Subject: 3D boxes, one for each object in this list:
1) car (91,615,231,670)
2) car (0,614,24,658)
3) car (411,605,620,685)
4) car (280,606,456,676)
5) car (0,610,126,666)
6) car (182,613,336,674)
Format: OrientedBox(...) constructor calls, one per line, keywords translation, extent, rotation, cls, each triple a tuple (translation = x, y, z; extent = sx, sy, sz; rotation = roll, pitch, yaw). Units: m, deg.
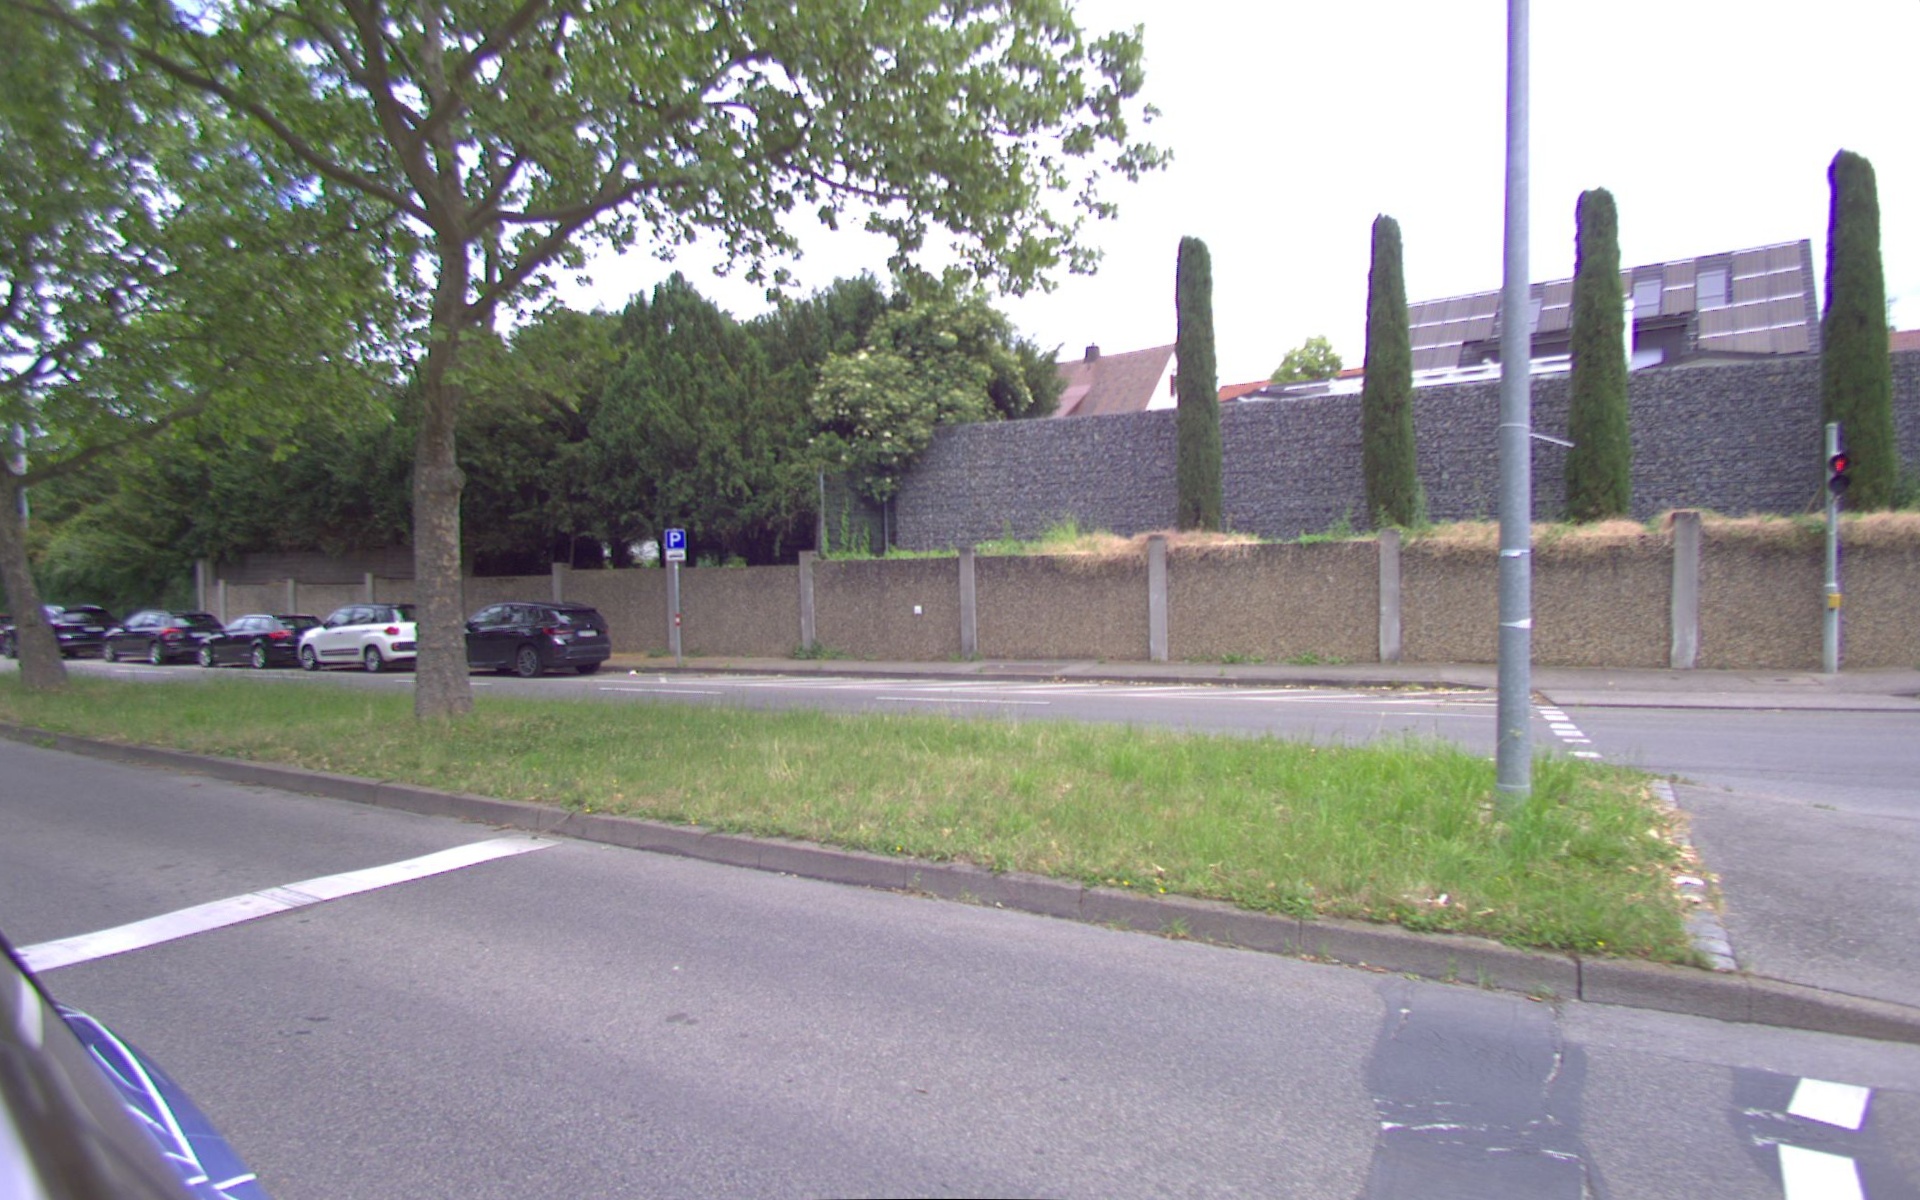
OrientedBox(translation=(-23.503, 1.238, 29.752), extent=(4.019, 1.516, 1.781), rotation=(-1, -1, 28), cls="car")
OrientedBox(translation=(-34.994, 1.286, 35.755), extent=(3.813, 1.516, 1.671), rotation=(-1, -1, 28), cls="car")
OrientedBox(translation=(-9.846, 0.970, 22.368), extent=(4.436, 1.628, 1.782), rotation=(-1, -1, 25), cls="car")
OrientedBox(translation=(-14.715, 1.000, 25.135), extent=(4.195, 1.628, 1.781), rotation=(-1, -1, 26), cls="car")
OrientedBox(translation=(-28.667, 1.195, 32.295), extent=(4.020, 1.615, 1.780), rotation=(-1, 1, 29), cls="car")
OrientedBox(translation=(-18.870, 1.145, 27.232), extent=(4.019, 1.516, 1.781), rotation=(-1, -1, 28), cls="car")
